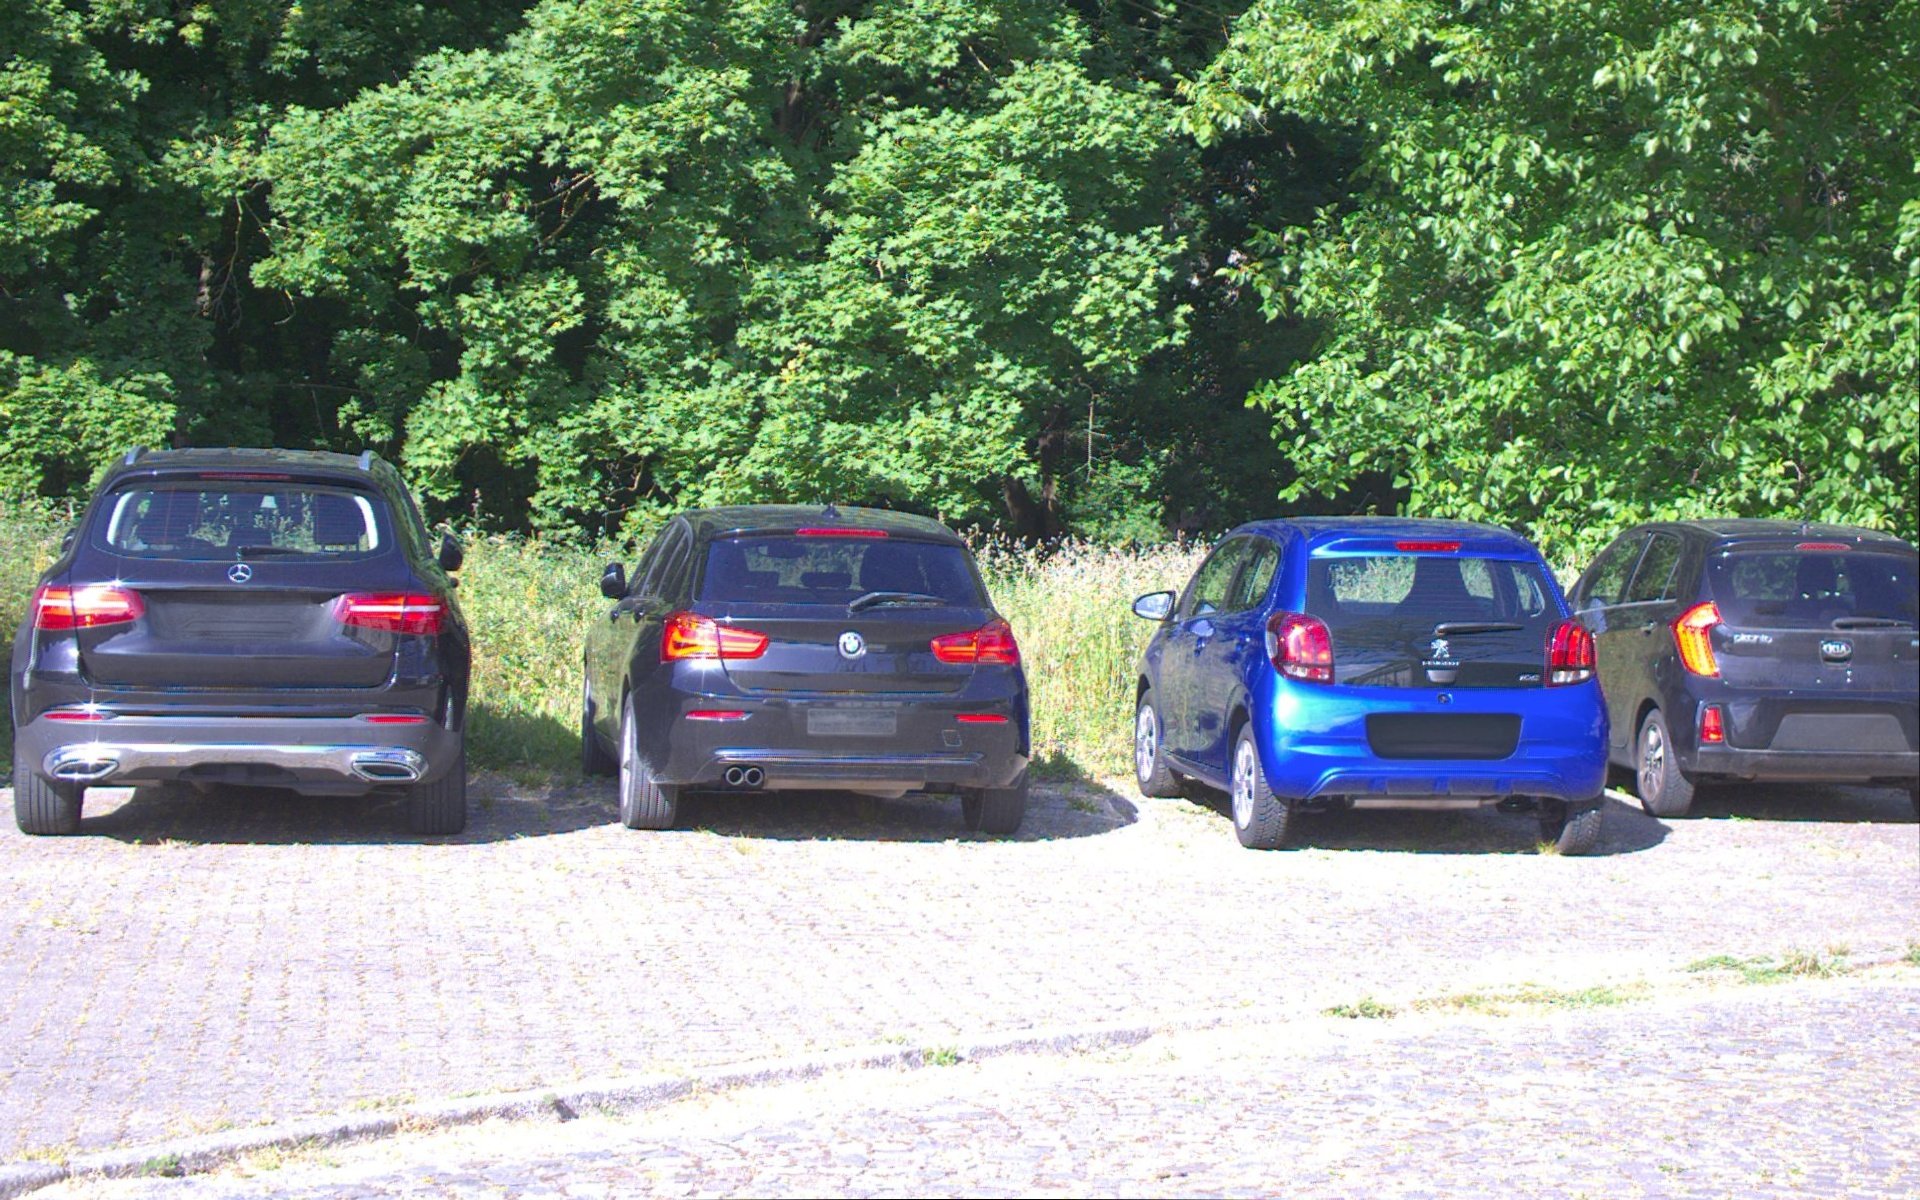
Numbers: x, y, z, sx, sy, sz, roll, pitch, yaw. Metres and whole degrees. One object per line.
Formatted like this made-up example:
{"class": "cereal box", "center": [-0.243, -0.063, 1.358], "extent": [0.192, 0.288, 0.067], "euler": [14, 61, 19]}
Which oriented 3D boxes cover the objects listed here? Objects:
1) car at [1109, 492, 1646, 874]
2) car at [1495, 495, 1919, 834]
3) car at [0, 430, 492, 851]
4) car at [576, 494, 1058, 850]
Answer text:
{"class": "car", "center": [1.871, 0.306, 16.533], "extent": [1.708, 1.488, 3.665], "euler": [1, 4, -7]}
{"class": "car", "center": [4.069, 0.261, 18.187], "extent": [1.673, 1.510, 3.552], "euler": [1, 3, -4]}
{"class": "car", "center": [-3.081, 0.098, 15.430], "extent": [1.861, 1.635, 3.822], "euler": [1, 2, -7]}
{"class": "car", "center": [-0.788, 0.253, 16.106], "extent": [1.827, 1.446, 3.665], "euler": [1, 2, -9]}
